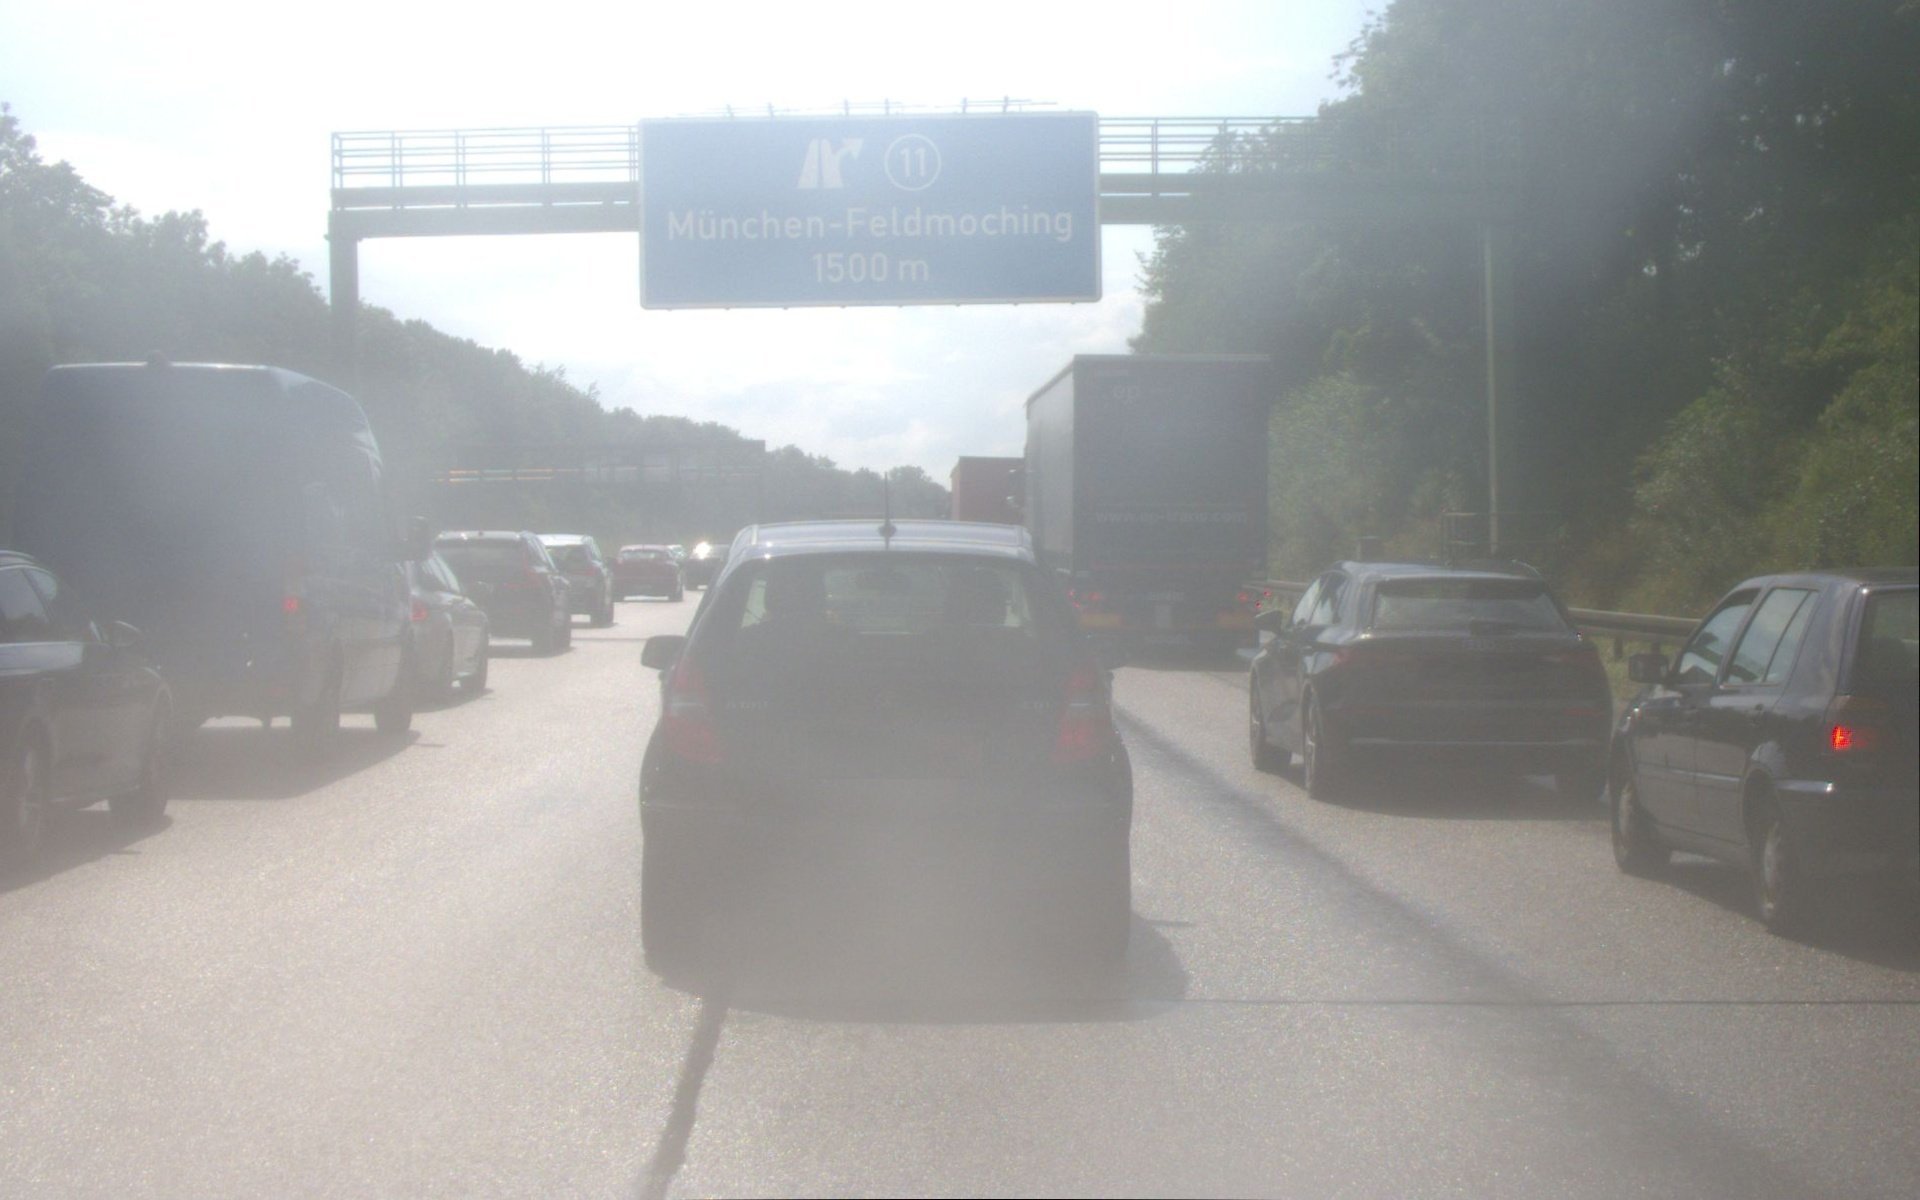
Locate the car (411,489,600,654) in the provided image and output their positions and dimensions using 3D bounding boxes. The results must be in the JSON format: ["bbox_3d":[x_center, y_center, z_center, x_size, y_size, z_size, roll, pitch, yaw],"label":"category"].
[{"bbox_3d":[-6.141,-0.390,46.955,1.993,2.108,4.889,1,1,-1],"label":"car"}]

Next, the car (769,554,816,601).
[{"bbox_3d":[-7.656,-1.043,157.351,1.993,2.108,4.889,1,1,-1],"label":"car"}]

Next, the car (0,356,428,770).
[{"bbox_3d":[-5.167,-0.258,24.476,1.993,2.606,5.260,1,0,-1],"label":"car"}]

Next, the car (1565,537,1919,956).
[{"bbox_3d":[3.783,0.518,14.450,1.590,1.511,3.976,1,1,-3],"label":"car"}]

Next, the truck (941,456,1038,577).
[{"bbox_3d":[0.870,-2.541,106.406,2.775,3.619,5.917,1,0,-1],"label":"truck"}]

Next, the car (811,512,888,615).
[{"bbox_3d":[-3.031,-0.996,95.064,1.993,2.737,5.260,1,0,-1],"label":"car"}]

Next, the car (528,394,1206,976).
[{"bbox_3d":[-0.434,0.270,14.077,2.274,1.948,4.822,1,1,-3],"label":"car"}]

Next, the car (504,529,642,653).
[{"bbox_3d":[-6.898,-0.177,61.710,1.993,2.108,4.889,1,1,-1],"label":"car"}]

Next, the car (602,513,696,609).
[{"bbox_3d":[-7.931,-0.999,88.175,1.993,2.377,5.260,1,1,-1],"label":"car"}]

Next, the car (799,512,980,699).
[{"bbox_3d":[-0.775,0.035,35.356,1.692,1.798,3.976,1,1,-3],"label":"car"}]

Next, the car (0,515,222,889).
[{"bbox_3d":[-5.025,0.391,16.519,1.993,1.559,4.757,1,1,-1],"label":"car"}]

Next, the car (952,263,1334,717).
[{"bbox_3d":[2.346,-1.501,52.878,4.403,5.810,16.819,1,1,-2],"label":"car"}]

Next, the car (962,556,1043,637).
[{"bbox_3d":[1.116,-0.109,92.570,1.993,2.108,4.889,1,1,-1],"label":"car"}]

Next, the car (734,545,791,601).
[{"bbox_3d":[-7.581,-1.051,132.407,1.993,2.108,4.889,1,1,-1],"label":"car"}]

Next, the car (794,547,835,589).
[{"bbox_3d":[-7.518,-1.675,178.373,1.993,2.108,4.889,1,1,-1],"label":"car"}]

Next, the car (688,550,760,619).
[{"bbox_3d":[-7.417,-0.509,108.533,1.993,2.108,4.889,1,1,-1],"label":"car"}]

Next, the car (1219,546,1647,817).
[{"bbox_3d":[2.829,0.444,21.420,1.864,1.511,3.976,1,1,-4],"label":"car"}]

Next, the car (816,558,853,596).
[{"bbox_3d":[-7.212,-1.345,198.000,1.993,2.108,4.889,1,1,-1],"label":"car"}]

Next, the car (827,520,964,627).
[{"bbox_3d":[-1.011,-0.403,51.634,1.864,1.511,3.976,1,1,-4],"label":"car"}]
